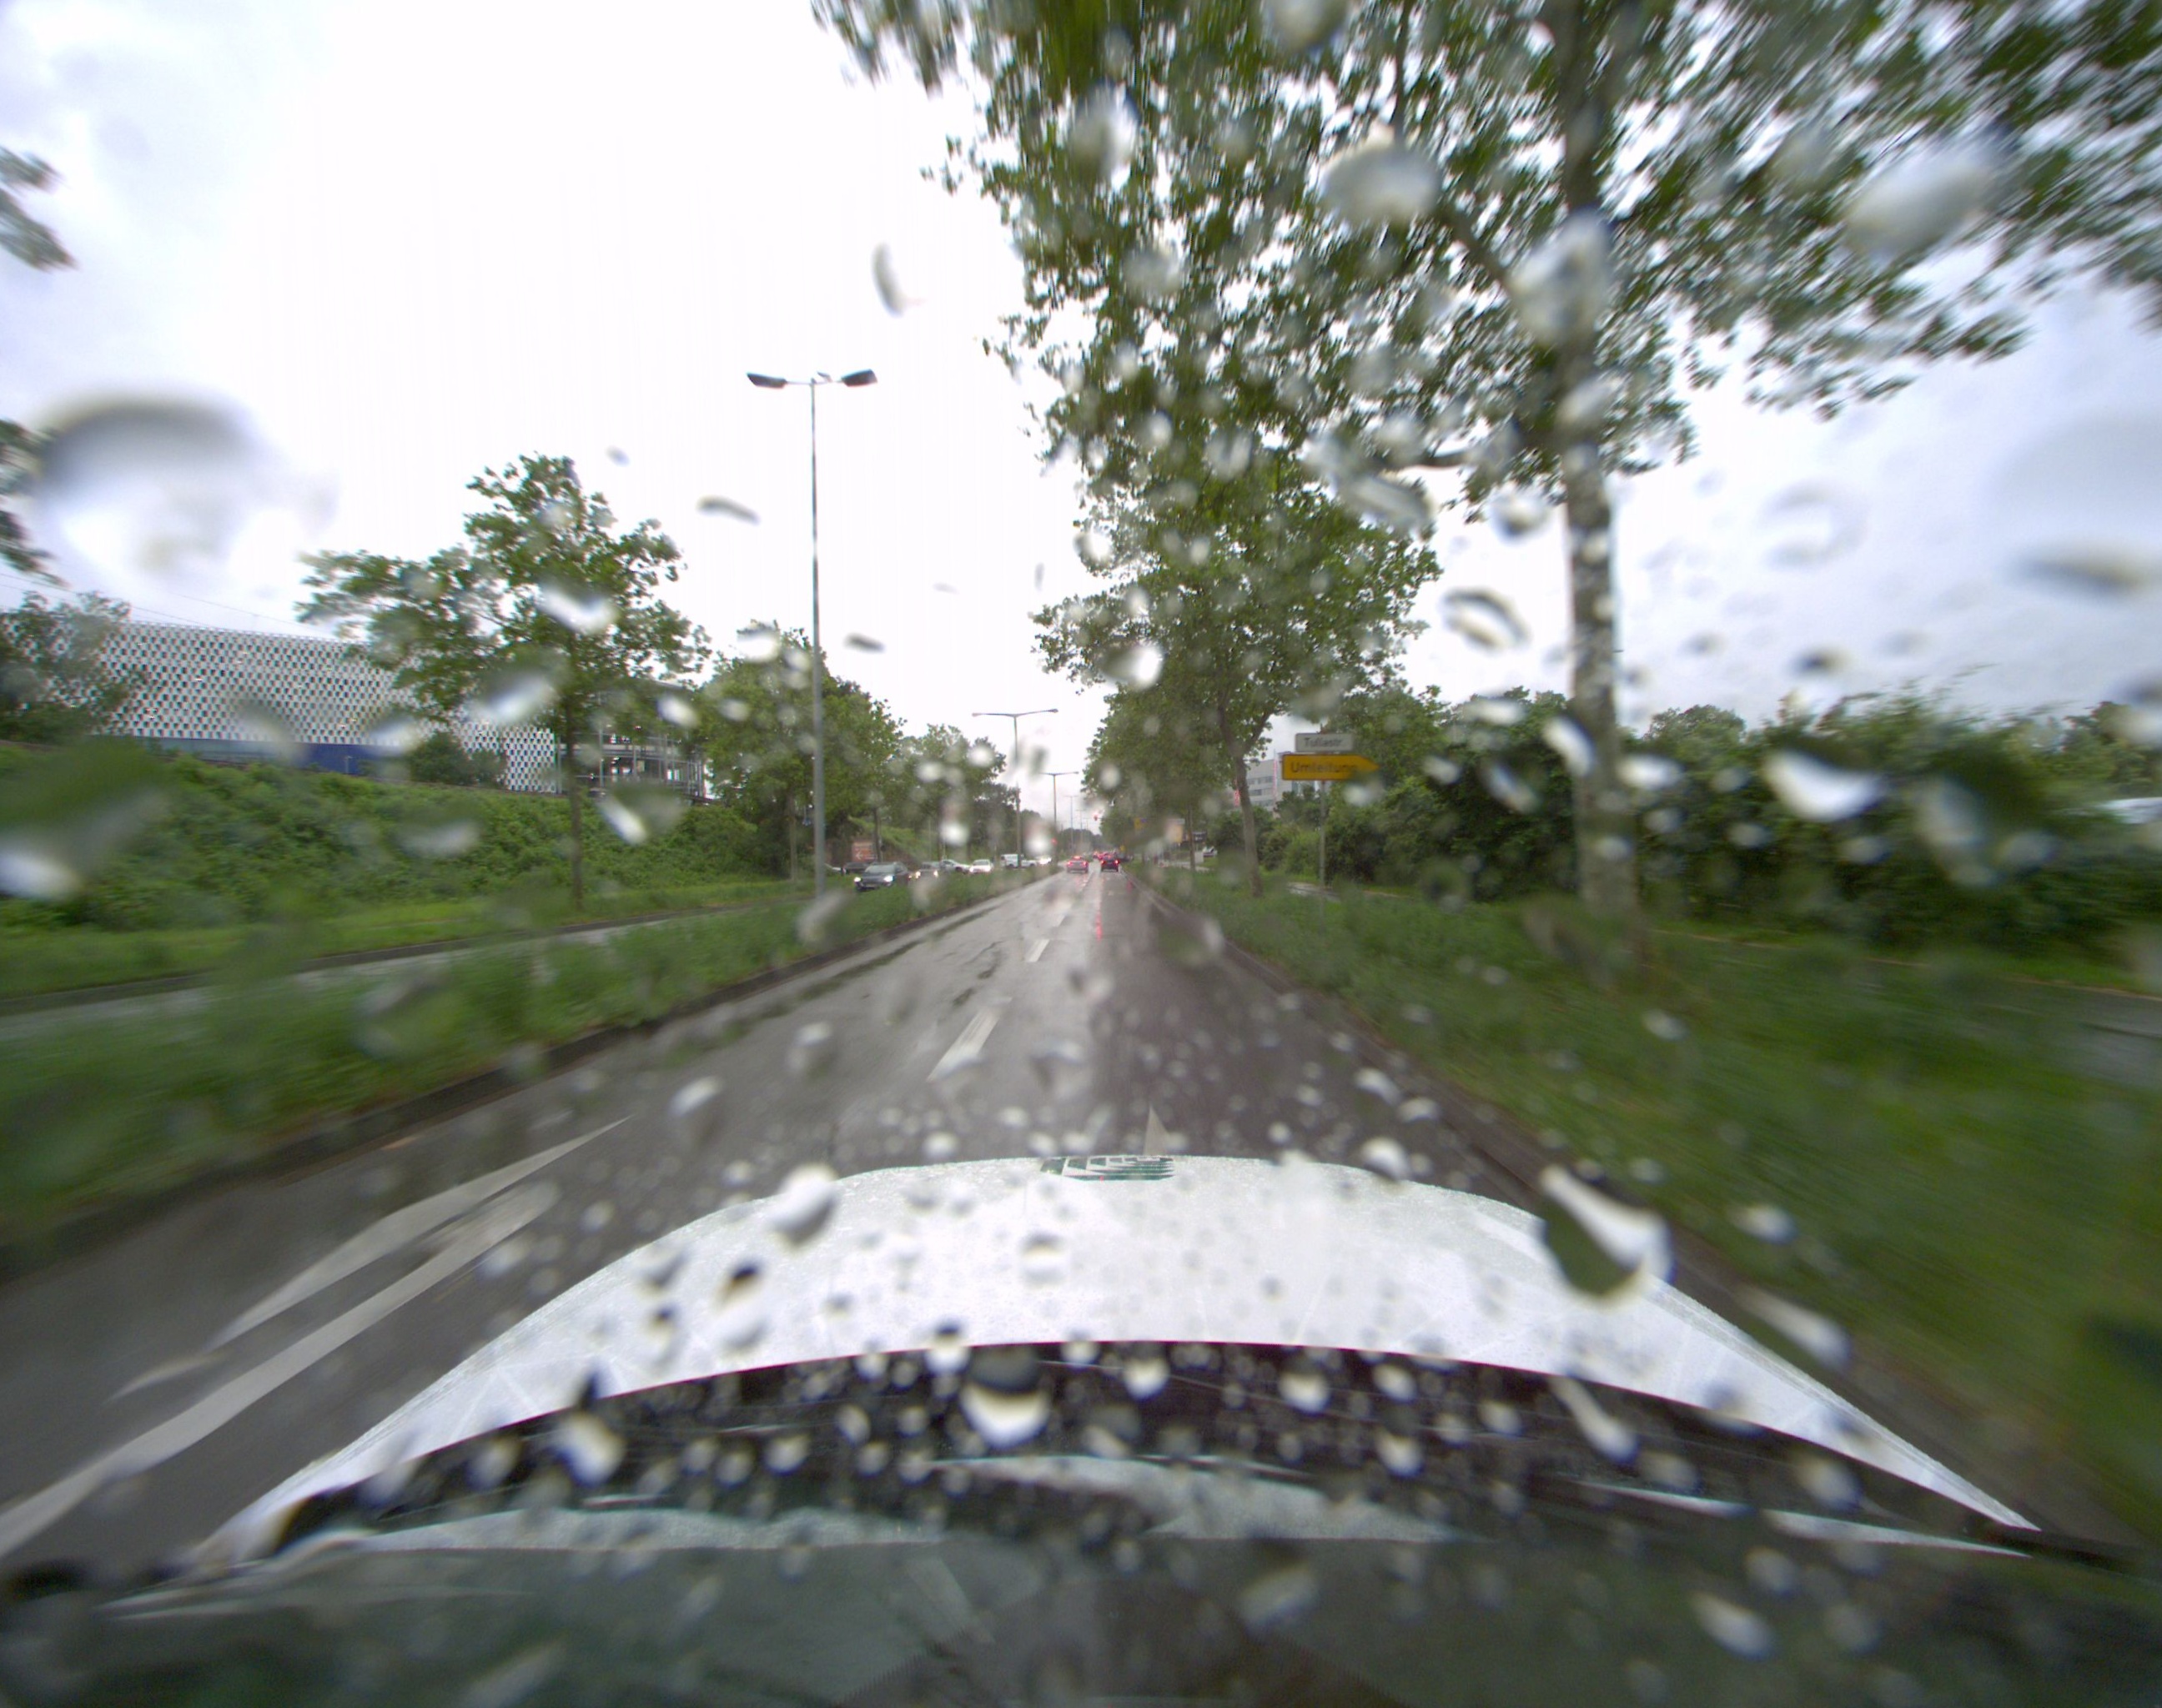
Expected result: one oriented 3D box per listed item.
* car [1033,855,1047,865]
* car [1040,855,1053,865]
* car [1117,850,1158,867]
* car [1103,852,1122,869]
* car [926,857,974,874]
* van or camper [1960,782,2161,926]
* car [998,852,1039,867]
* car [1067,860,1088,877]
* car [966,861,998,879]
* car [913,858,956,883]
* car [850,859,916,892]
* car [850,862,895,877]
[{"bbox_3d":[-6.415,0.970,127.579,1.706,1.530,4.002,-2,0,2],"label":"car"},{"bbox_3d":[-5.678,0.926,134.847,1.706,1.530,4.002,-2,0,2],"label":"car"},{"bbox_3d":[6.254,0.464,90.343,4.409,1.537,1.782,-4,2,-38],"label":"car"},{"bbox_3d":[3.035,0.615,79.228,1.789,1.537,4.389,0,0,2],"label":"car"},{"bbox_3d":[-13.230,1.142,82.369,4.484,1.589,1.865,-2,0,3],"label":"car"},{"bbox_3d":[20.983,-0.070,15.560,6.343,2.543,2.000,-1,2,-1],"label":"van or camper"},{"bbox_3d":[-7.256,0.624,94.601,4.397,1.537,1.786,-2,0,-28],"label":"car"},{"bbox_3d":[-0.251,1.238,72.592,1.683,1.433,4.576,-1,0,2],"label":"car"},{"bbox_3d":[-8.364,1.317,69.112,1.924,1.445,4.659,-1,0,2],"label":"car"},{"bbox_3d":[-9.169,0.999,51.405,1.924,1.445,3.708,-1,0,1],"label":"car"},{"bbox_3d":[-9.293,0.978,38.610,1.924,1.445,4.498,-1,0,2],"label":"car"},{"bbox_3d":[-22.187,1.638,86.619,4.397,1.537,1.786,-1,0,-28],"label":"car"}]
